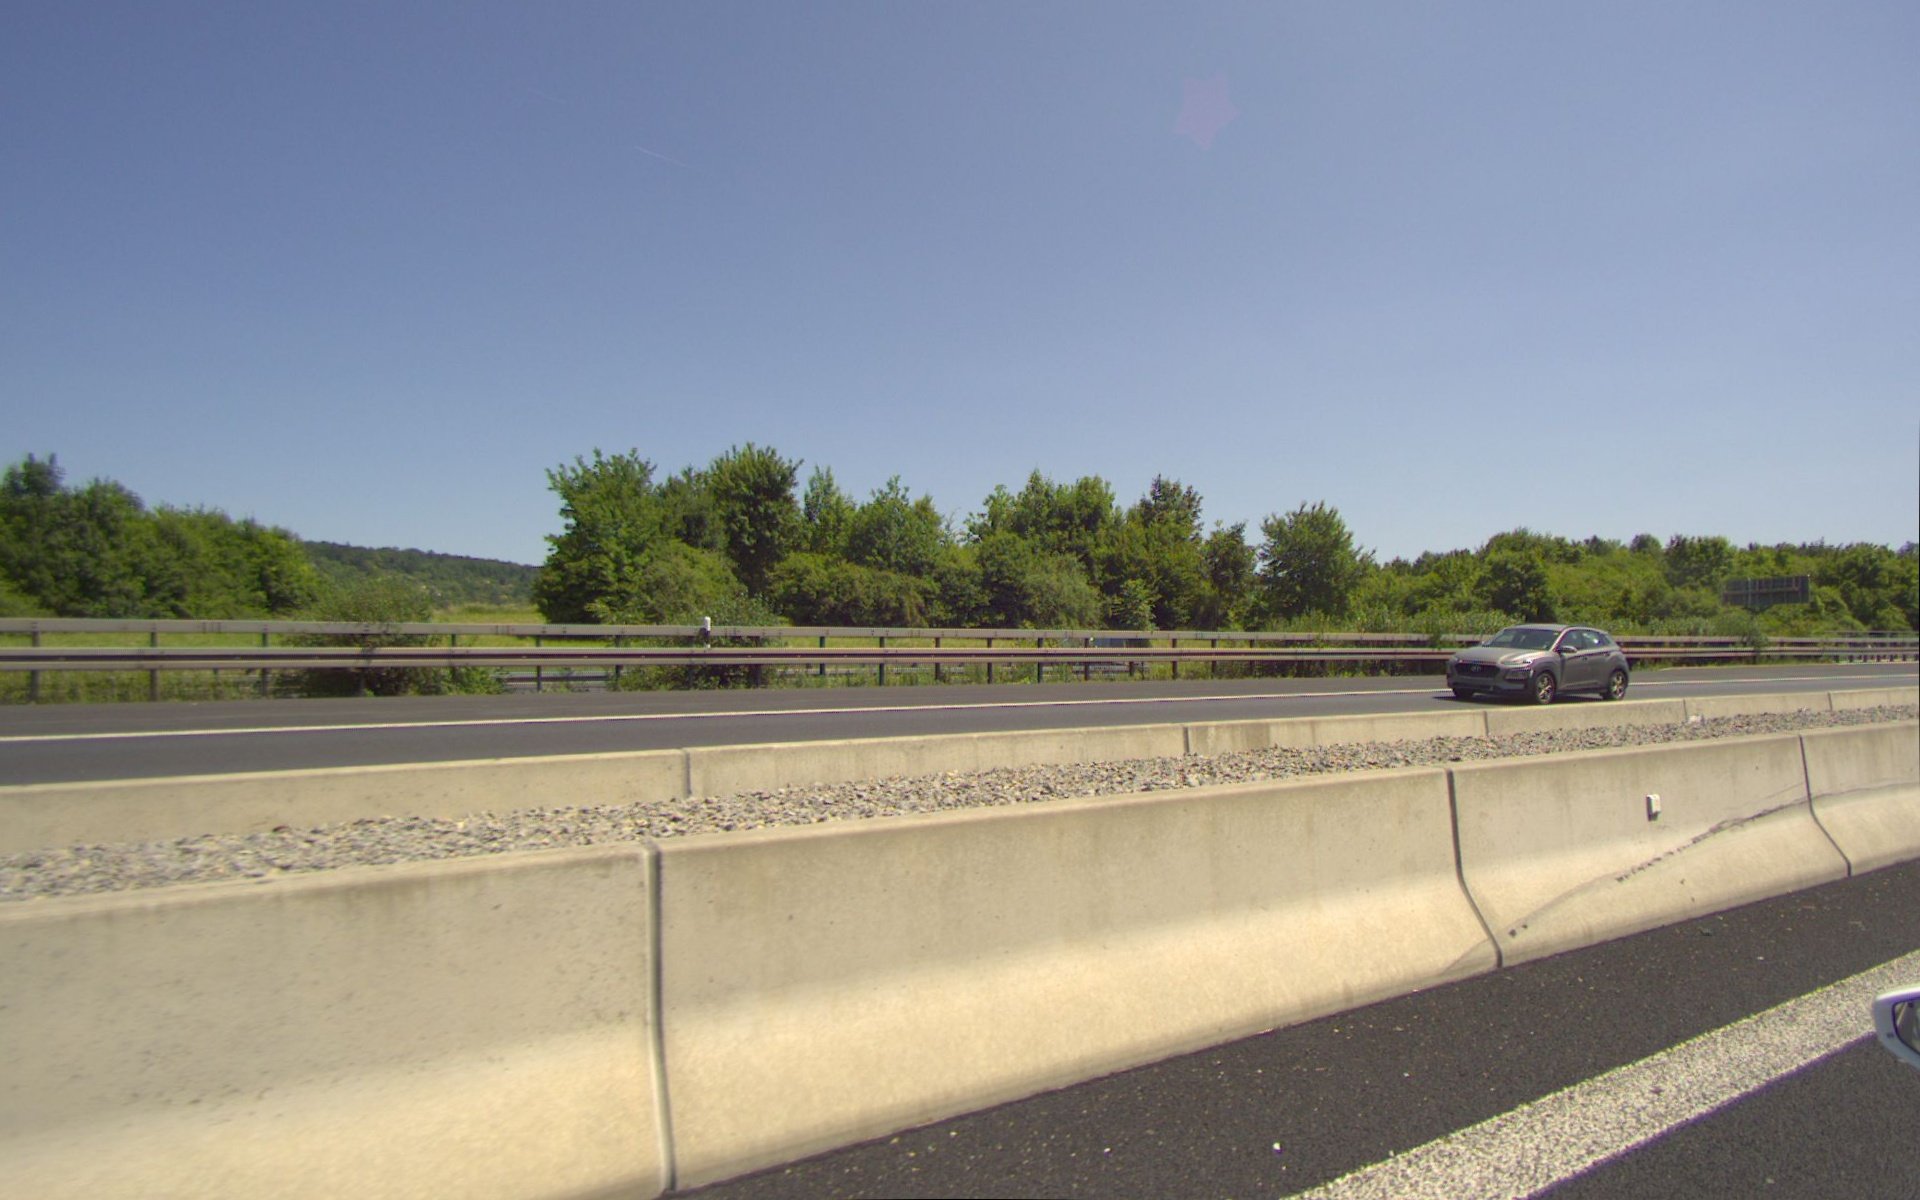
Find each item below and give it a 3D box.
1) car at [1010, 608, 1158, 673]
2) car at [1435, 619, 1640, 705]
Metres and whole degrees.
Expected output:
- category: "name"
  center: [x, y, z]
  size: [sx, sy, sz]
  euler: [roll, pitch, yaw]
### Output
- category: "car"
  center: [3.672, 1.212, 29.729]
  size: [3.952, 1.790, 1.985]
  euler: [2, -1, -30]
- category: "car"
  center: [11.761, 1.216, 20.399]
  size: [4.211, 1.553, 1.719]
  euler: [2, 0, -30]
